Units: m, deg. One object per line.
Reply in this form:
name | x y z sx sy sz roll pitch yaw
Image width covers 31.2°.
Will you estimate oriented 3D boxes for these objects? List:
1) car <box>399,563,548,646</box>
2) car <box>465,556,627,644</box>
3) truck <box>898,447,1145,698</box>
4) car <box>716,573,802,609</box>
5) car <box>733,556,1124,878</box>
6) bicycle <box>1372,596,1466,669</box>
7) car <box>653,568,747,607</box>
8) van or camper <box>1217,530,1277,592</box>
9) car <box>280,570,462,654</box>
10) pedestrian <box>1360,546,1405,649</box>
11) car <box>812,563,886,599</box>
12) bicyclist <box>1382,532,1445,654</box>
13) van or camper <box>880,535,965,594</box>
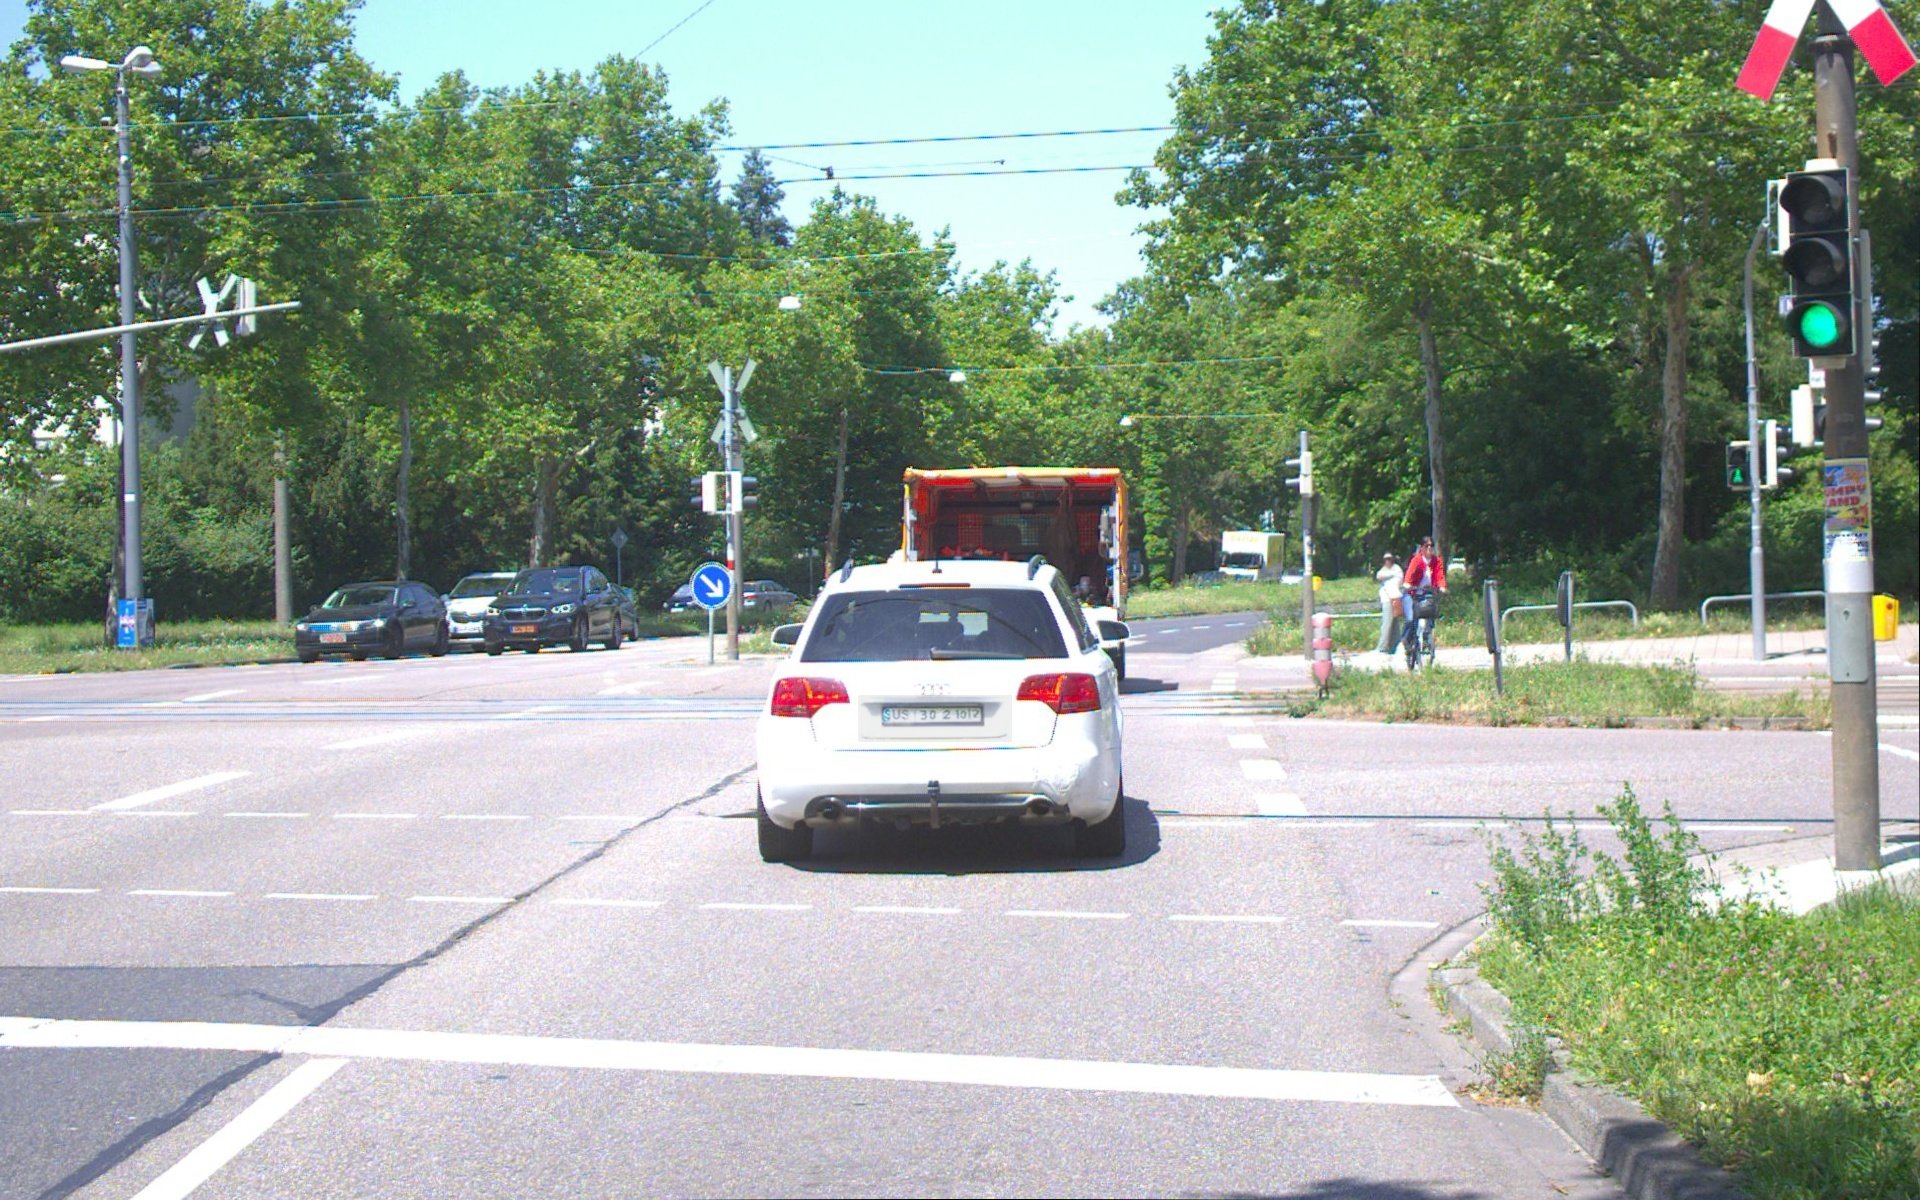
car | -10.057 0.070 71.398 1.788 1.609 4.402 -1 1 9
car | -7.628 -0.021 63.705 1.909 1.533 4.297 -1 1 8
truck | 0.635 -0.313 39.047 2.511 2.551 7.603 1 0 0
car | -7.897 -0.366 135.475 1.883 1.371 3.996 -1 1 21
car | -0.103 0.503 17.310 1.762 1.440 3.616 0 1 1
bicycle | 5.885 0.411 44.181 0.587 0.892 1.812 -1 1 -13
car | -9.816 -0.492 130.067 1.884 1.388 3.995 -1 1 24
van or camper | 16.007 -2.180 191.593 2.662 3.320 5.497 -1 1 12
car | -10.955 0.196 64.316 1.950 1.435 4.745 -1 1 9
pedestrian | 6.125 -0.043 49.832 0.553 1.479 0.629 -1 1 14
car | -4.676 -0.808 145.072 1.883 1.469 3.997 -1 1 17
bicyclist | 5.846 -0.093 44.289 0.577 1.551 0.674 -1 1 -13
van or camper | -1.642 -1.604 153.713 2.184 2.578 5.304 -1 1 18
